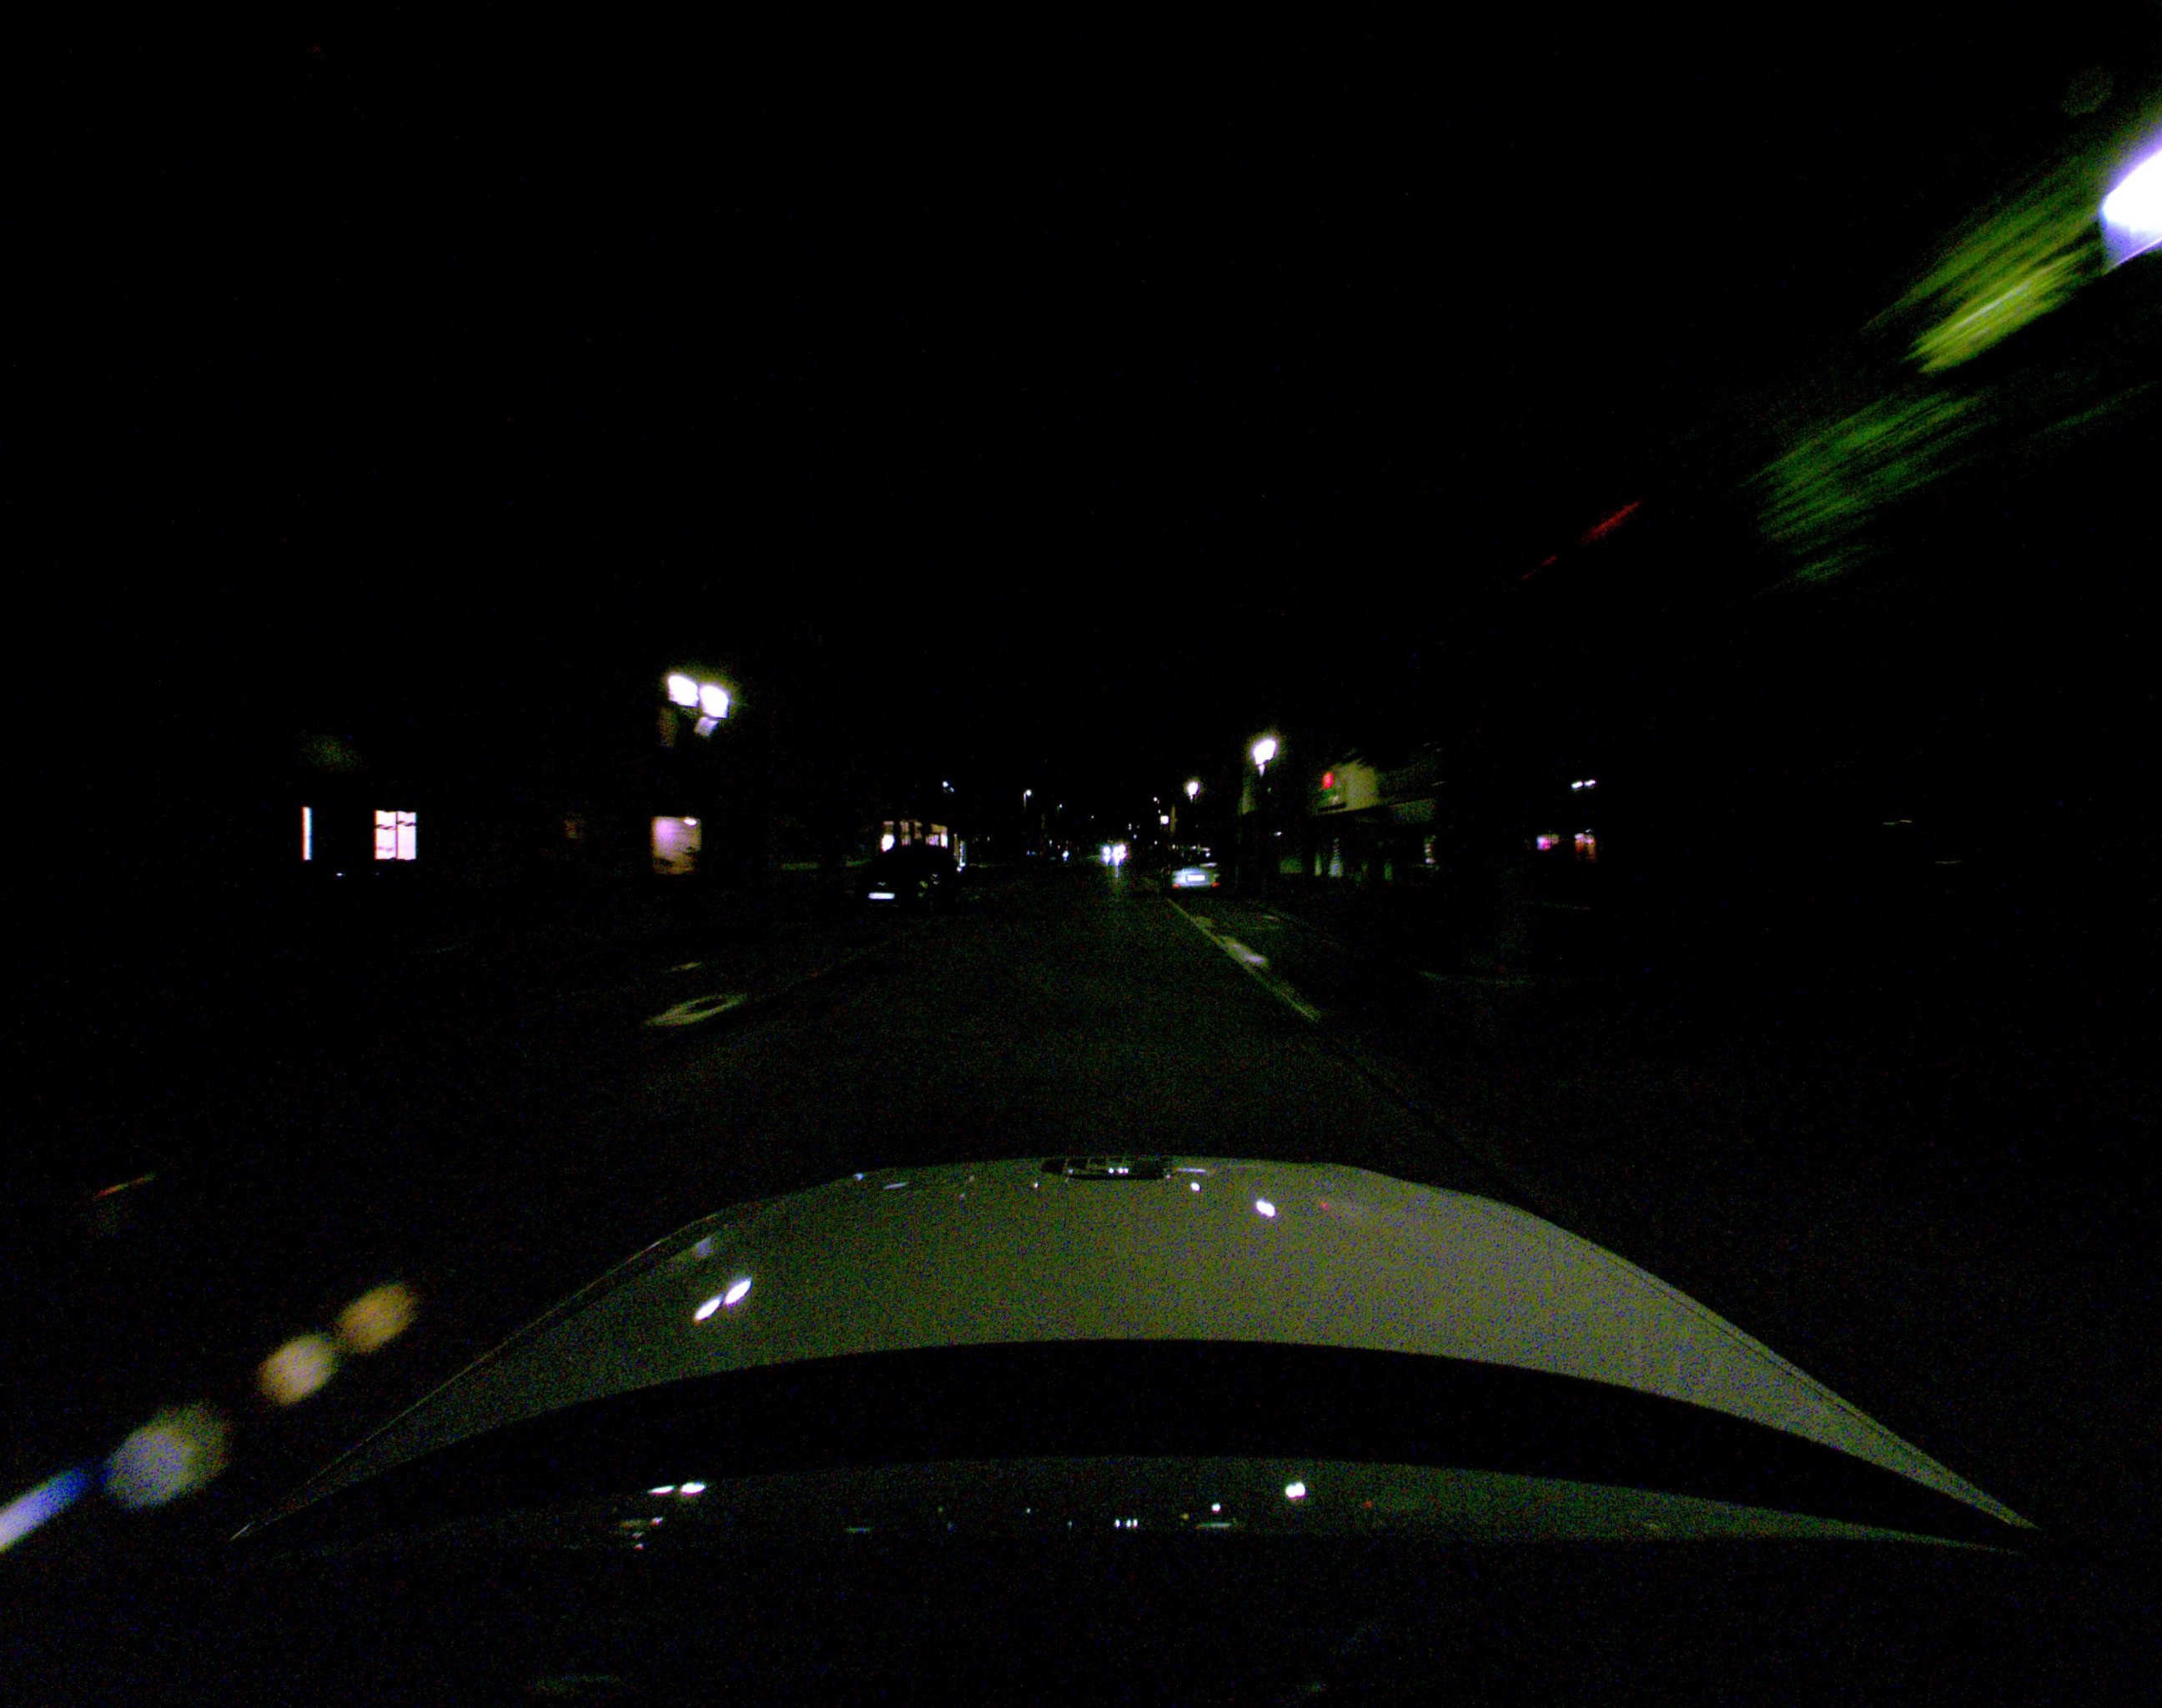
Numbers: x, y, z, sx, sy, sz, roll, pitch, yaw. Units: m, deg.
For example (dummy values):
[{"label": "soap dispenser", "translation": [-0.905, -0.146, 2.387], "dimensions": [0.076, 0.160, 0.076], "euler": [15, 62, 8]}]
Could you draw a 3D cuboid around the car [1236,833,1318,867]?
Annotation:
[{"label": "car", "translation": [10.978, -0.213, 45.714], "dimensions": [4.065, 1.581, 1.816], "euler": [-4, 1, -2]}]

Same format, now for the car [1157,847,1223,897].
[{"label": "car", "translation": [3.405, 0.534, 25.995], "dimensions": [1.669, 1.459, 3.676], "euler": [-1, 0, 1]}]

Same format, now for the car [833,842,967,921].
[{"label": "car", "translation": [-4.354, 0.608, 20.522], "dimensions": [2.009, 1.691, 5.006], "euler": [1, 0, 3]}]

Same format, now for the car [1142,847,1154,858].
[{"label": "car", "translation": [10.474, -0.290, 127.726], "dimensions": [1.768, 1.652, 4.368], "euler": [-1, 0, 4]}]

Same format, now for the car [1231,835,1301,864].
[{"label": "car", "translation": [11.655, -0.269, 51.479], "dimensions": [3.975, 1.476, 1.751], "euler": [-4, -1, -1]}]

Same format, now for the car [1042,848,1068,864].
[{"label": "car", "translation": [-2.385, 0.163, 74.455], "dimensions": [1.906, 1.370, 4.462], "euler": [-1, 1, 4]}]

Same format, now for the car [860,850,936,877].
[{"label": "car", "translation": [-11.425, 0.580, 50.921], "dimensions": [4.147, 1.438, 1.844], "euler": [-3, 0, 5]}]

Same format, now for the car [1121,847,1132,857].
[{"label": "car", "translation": [7.426, -0.373, 131.964], "dimensions": [1.767, 1.652, 4.369], "euler": [-1, 0, 4]}]

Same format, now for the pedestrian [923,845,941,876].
[{"label": "pedestrian", "translation": [-8.058, 0.359, 44.131], "dimensions": [0.766, 1.656, 0.782], "euler": [-1, 1, 3]}]

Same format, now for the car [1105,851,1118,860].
[{"label": "car", "translation": [4.371, 0.145, 114.982], "dimensions": [1.716, 1.247, 4.241], "euler": [-1, 0, 4]}]
